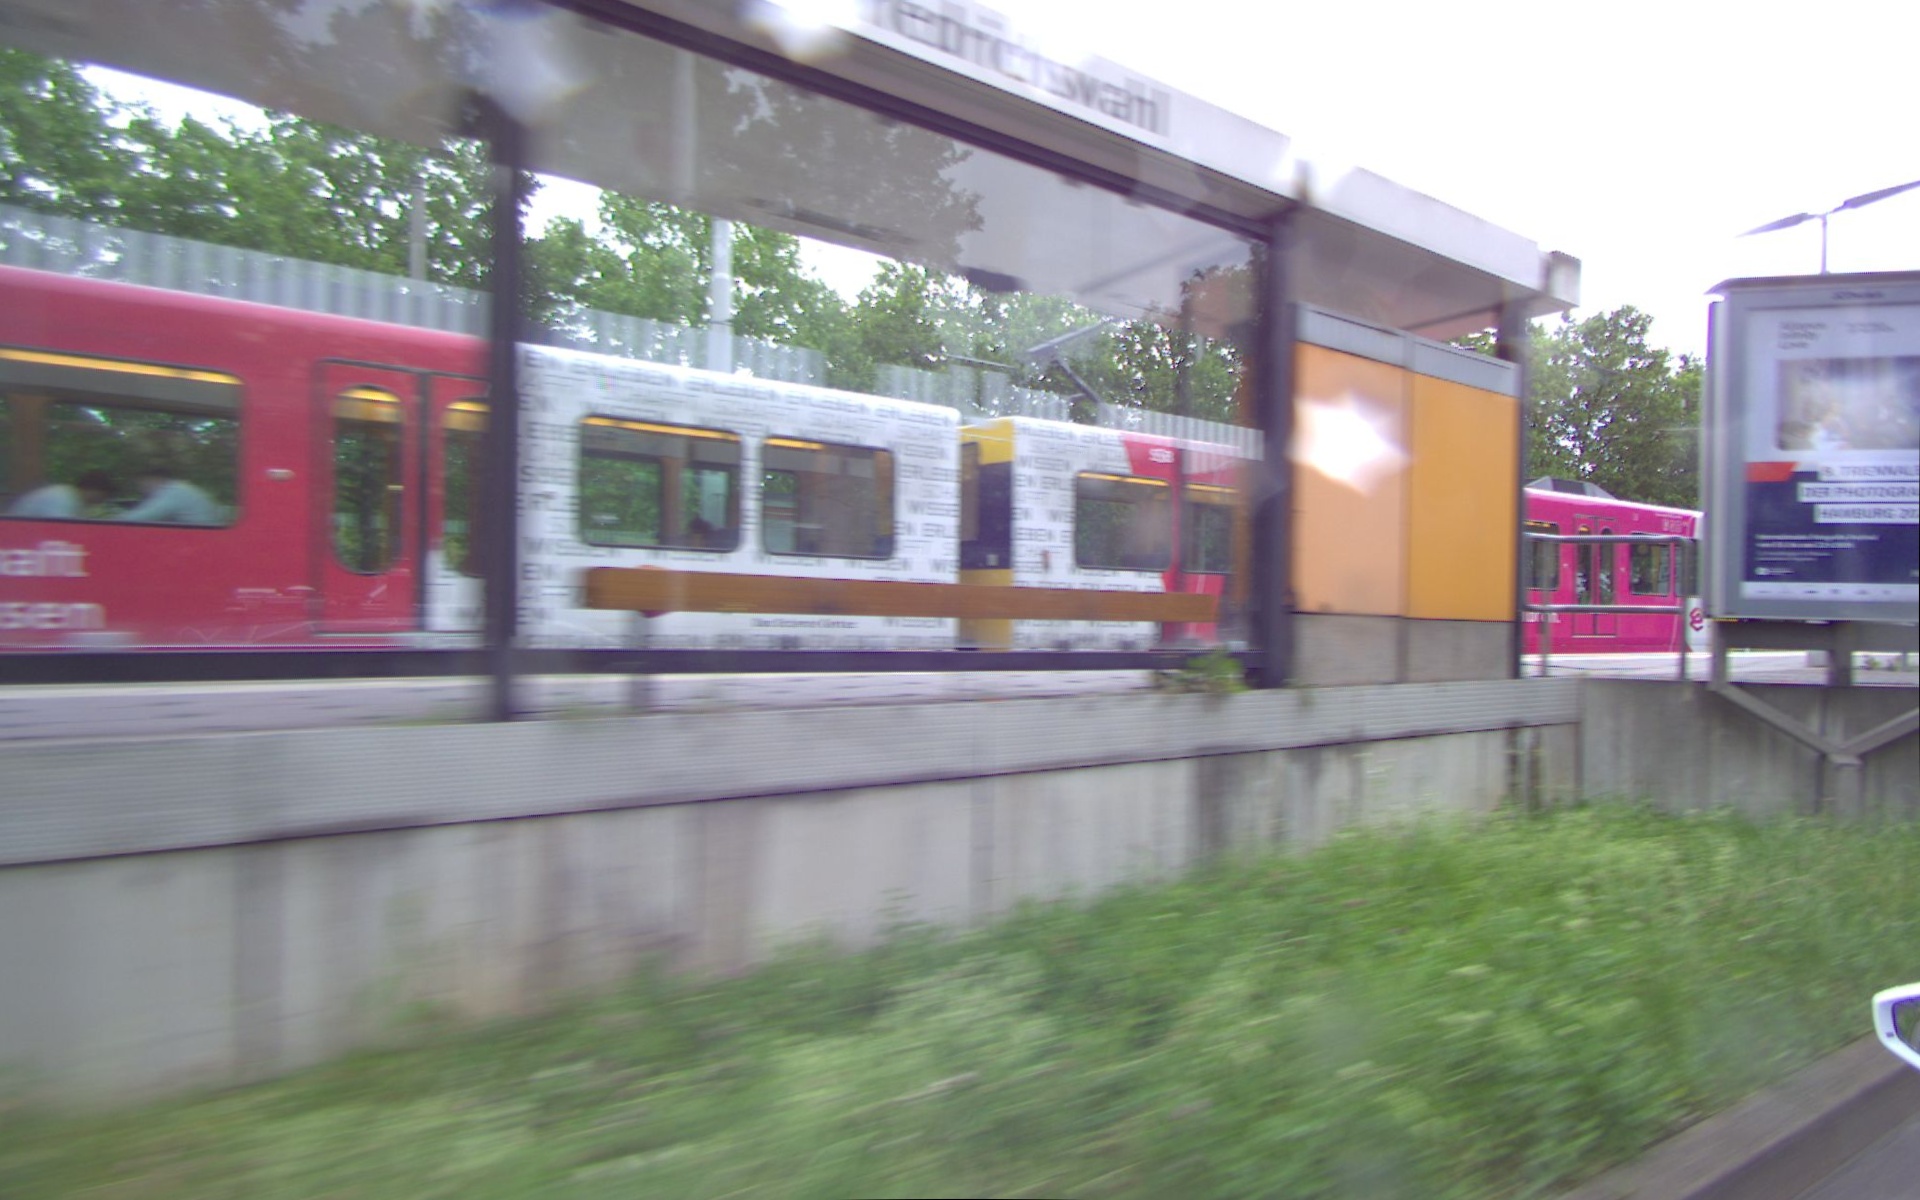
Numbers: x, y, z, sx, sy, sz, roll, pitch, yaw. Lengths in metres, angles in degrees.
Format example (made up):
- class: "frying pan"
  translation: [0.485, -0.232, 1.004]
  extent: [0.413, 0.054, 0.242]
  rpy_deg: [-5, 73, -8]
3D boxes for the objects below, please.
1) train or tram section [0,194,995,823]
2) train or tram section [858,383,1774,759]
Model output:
- class: "train or tram section"
  translation: [-8.453, -0.696, 6.636]
  extent: [19.126, 4.024, 2.850]
  rpy_deg: [2, 1, -33]
- class: "train or tram section"
  translation: [7.643, -0.005, 16.867]
  extent: [19.109, 4.013, 2.853]
  rpy_deg: [2, 1, -31]
